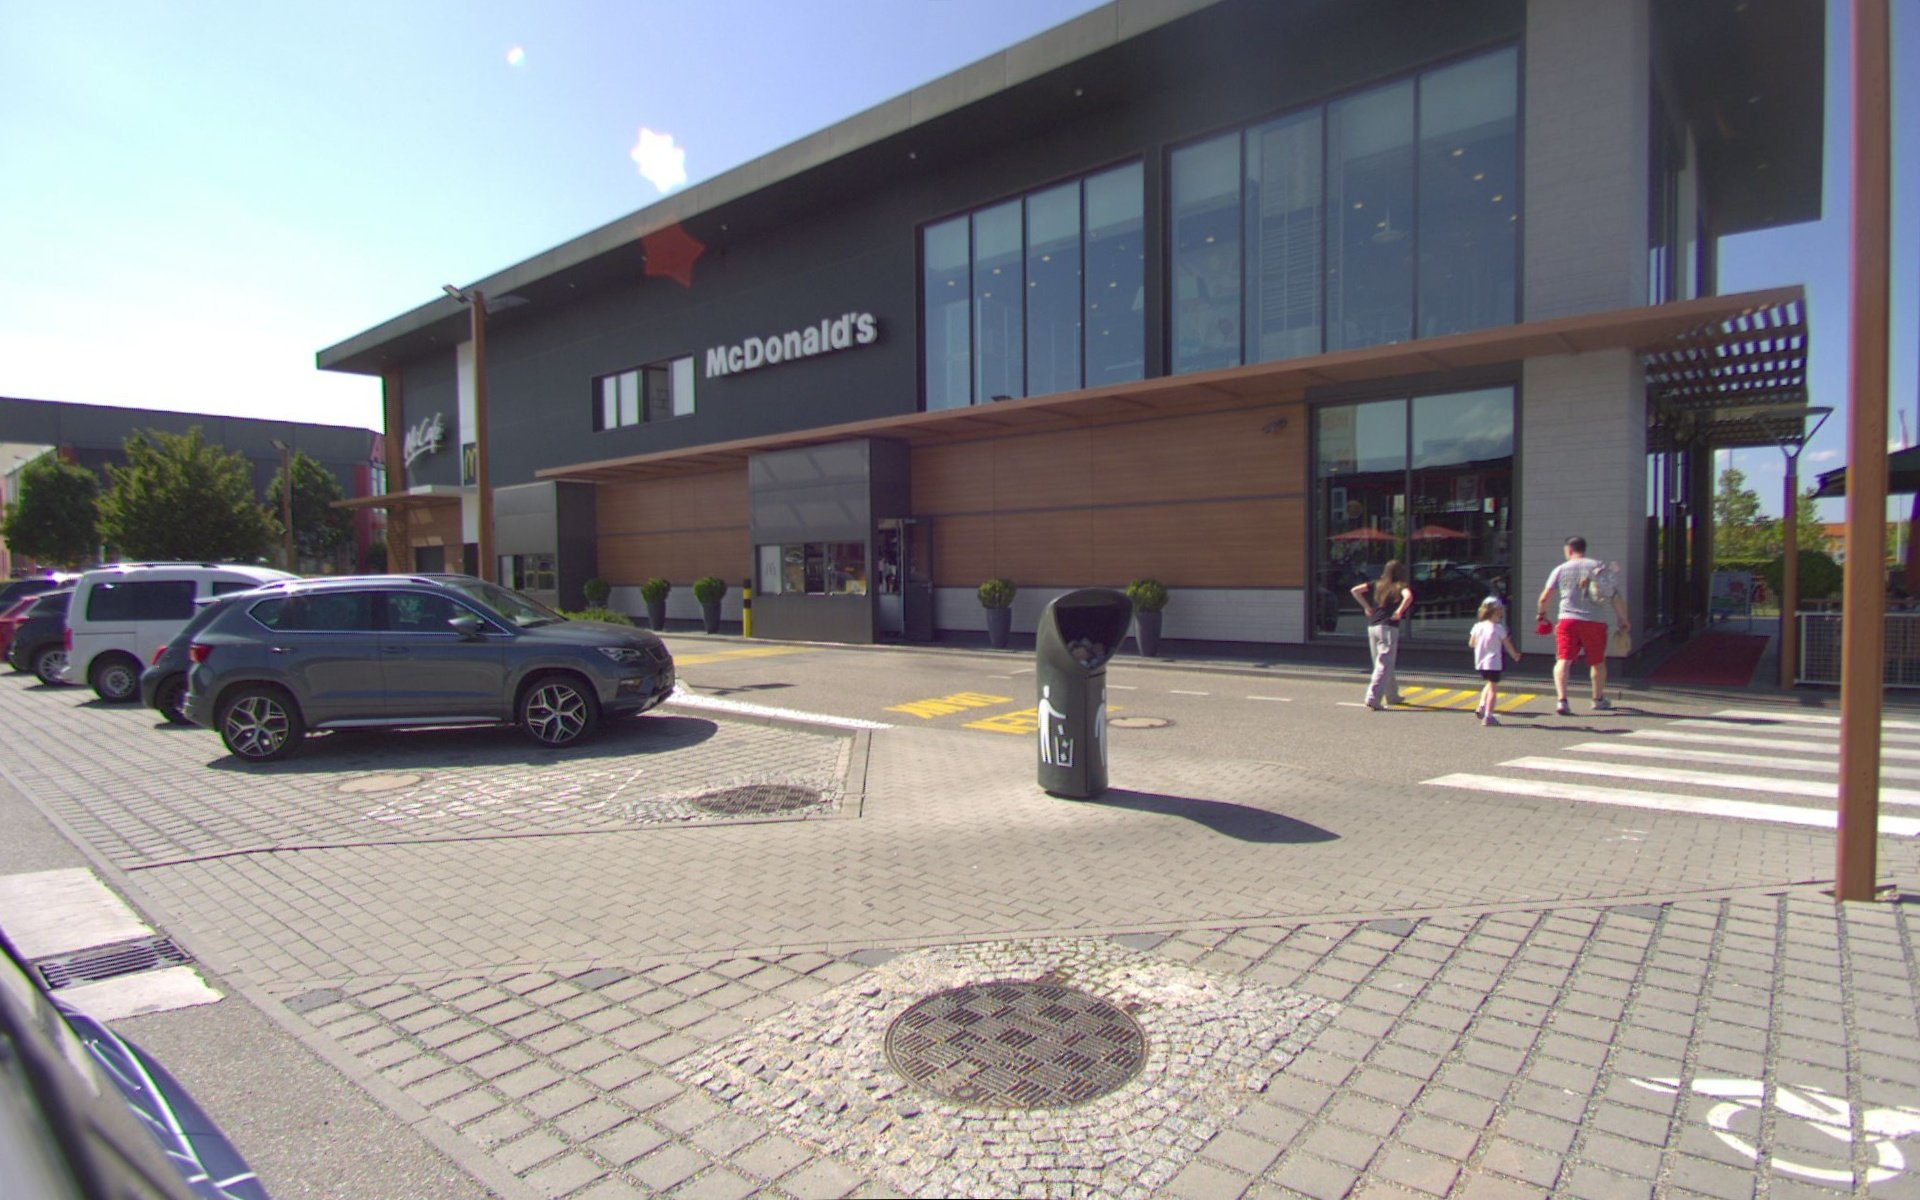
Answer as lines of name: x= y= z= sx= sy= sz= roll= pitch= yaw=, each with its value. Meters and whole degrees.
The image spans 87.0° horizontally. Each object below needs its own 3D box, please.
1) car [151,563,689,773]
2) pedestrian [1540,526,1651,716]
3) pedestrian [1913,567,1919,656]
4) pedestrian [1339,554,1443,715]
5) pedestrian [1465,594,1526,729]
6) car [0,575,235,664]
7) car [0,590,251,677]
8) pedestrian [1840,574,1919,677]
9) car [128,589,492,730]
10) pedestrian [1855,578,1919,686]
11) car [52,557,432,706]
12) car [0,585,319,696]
car: x=-4.949 y=0.552 z=9.807 sx=4.164 sy=1.615 sz=1.793 roll=-3 pitch=3 yaw=-4
pedestrian: x=6.296 y=0.194 z=10.055 sx=0.894 sy=1.781 sz=0.795 roll=0 pitch=1 yaw=32
pedestrian: x=12.434 y=0.136 z=12.752 sx=0.573 sy=1.109 sz=0.648 roll=0 pitch=1 yaw=39
pedestrian: x=4.492 y=0.332 z=10.550 sx=0.717 sy=1.595 sz=0.743 roll=-1 pitch=1 yaw=-40
pedestrian: x=4.934 y=0.548 z=9.320 sx=0.447 sy=1.195 sz=0.486 roll=0 pitch=1 yaw=34
car: x=-18.045 y=0.370 z=21.469 sx=3.971 sy=1.718 sz=1.680 roll=-1 pitch=2 yaw=-14
car: x=-15.877 y=0.583 z=19.158 sx=3.707 sy=1.454 sz=1.681 roll=-2 pitch=1 yaw=-21
pedestrian: x=10.487 y=0.275 z=11.547 sx=0.633 sy=1.132 sz=0.518 roll=0 pitch=1 yaw=36
car: x=-7.685 y=0.644 z=12.280 sx=3.359 sy=1.493 sz=1.572 roll=-1 pitch=1 yaw=-12
pedestrian: x=10.055 y=0.331 z=10.858 sx=0.633 sy=1.132 sz=0.518 roll=0 pitch=1 yaw=36
car: x=-10.082 y=0.387 z=14.540 sx=4.078 sy=1.936 sz=1.762 roll=-1 pitch=1 yaw=-10
car: x=-13.102 y=0.595 z=16.817 sx=3.779 sy=1.644 sz=1.763 roll=-1 pitch=1 yaw=-16
